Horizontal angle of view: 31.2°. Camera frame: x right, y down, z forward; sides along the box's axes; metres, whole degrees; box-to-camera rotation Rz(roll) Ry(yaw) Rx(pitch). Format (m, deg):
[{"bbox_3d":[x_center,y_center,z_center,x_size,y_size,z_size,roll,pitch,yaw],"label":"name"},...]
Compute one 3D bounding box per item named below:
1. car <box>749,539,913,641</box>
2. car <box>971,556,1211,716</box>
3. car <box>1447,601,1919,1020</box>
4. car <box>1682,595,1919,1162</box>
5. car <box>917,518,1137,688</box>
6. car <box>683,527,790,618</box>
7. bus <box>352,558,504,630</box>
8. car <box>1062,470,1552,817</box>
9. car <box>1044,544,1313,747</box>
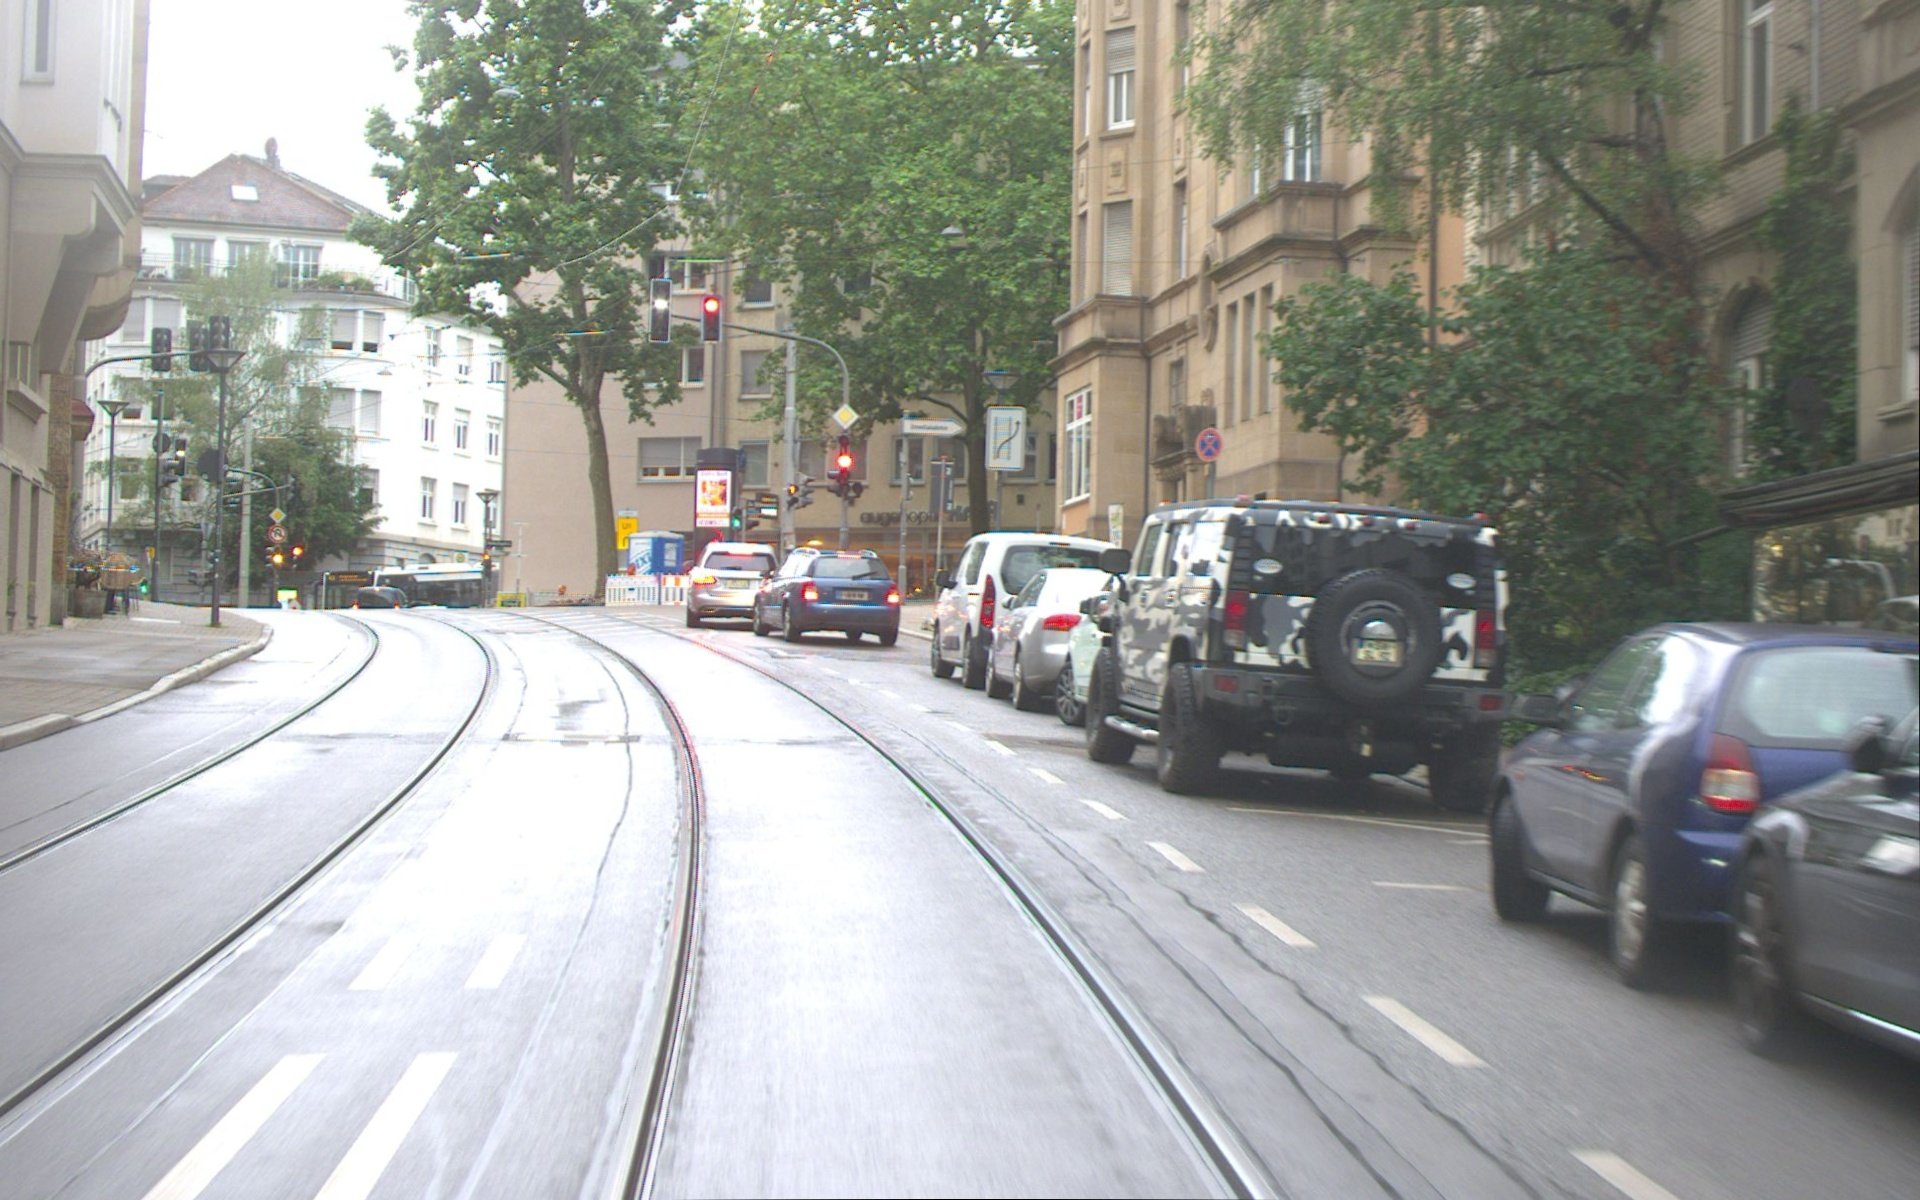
[{"bbox_3d":[-2.065,-0.183,53.986,1.710,1.410,4.038,2,1,-14],"label":"car"},{"bbox_3d":[1.255,0.317,34.934,1.748,1.396,4.479,4,1,-6],"label":"car"},{"bbox_3d":[3.151,0.742,13.770,1.678,1.333,3.883,3,1,-2],"label":"car"},{"bbox_3d":[3.413,0.780,9.177,1.794,1.432,4.611,3,1,-2],"label":"car"},{"bbox_3d":[0.711,-0.013,39.996,1.797,1.759,4.464,4,1,-8],"label":"car"},{"bbox_3d":[-3.921,-0.496,59.869,1.710,1.451,3.553,2,1,-5],"label":"car"},{"bbox_3d":[-22.330,-0.293,144.862,2.856,2.851,8.726,1,1,16],"label":"bus"},{"bbox_3d":[2.222,0.219,23.800,2.128,2.007,5.352,4,1,-7],"label":"car"},{"bbox_3d":[1.826,0.347,29.789,1.560,1.541,3.585,4,1,-8],"label":"car"}]
